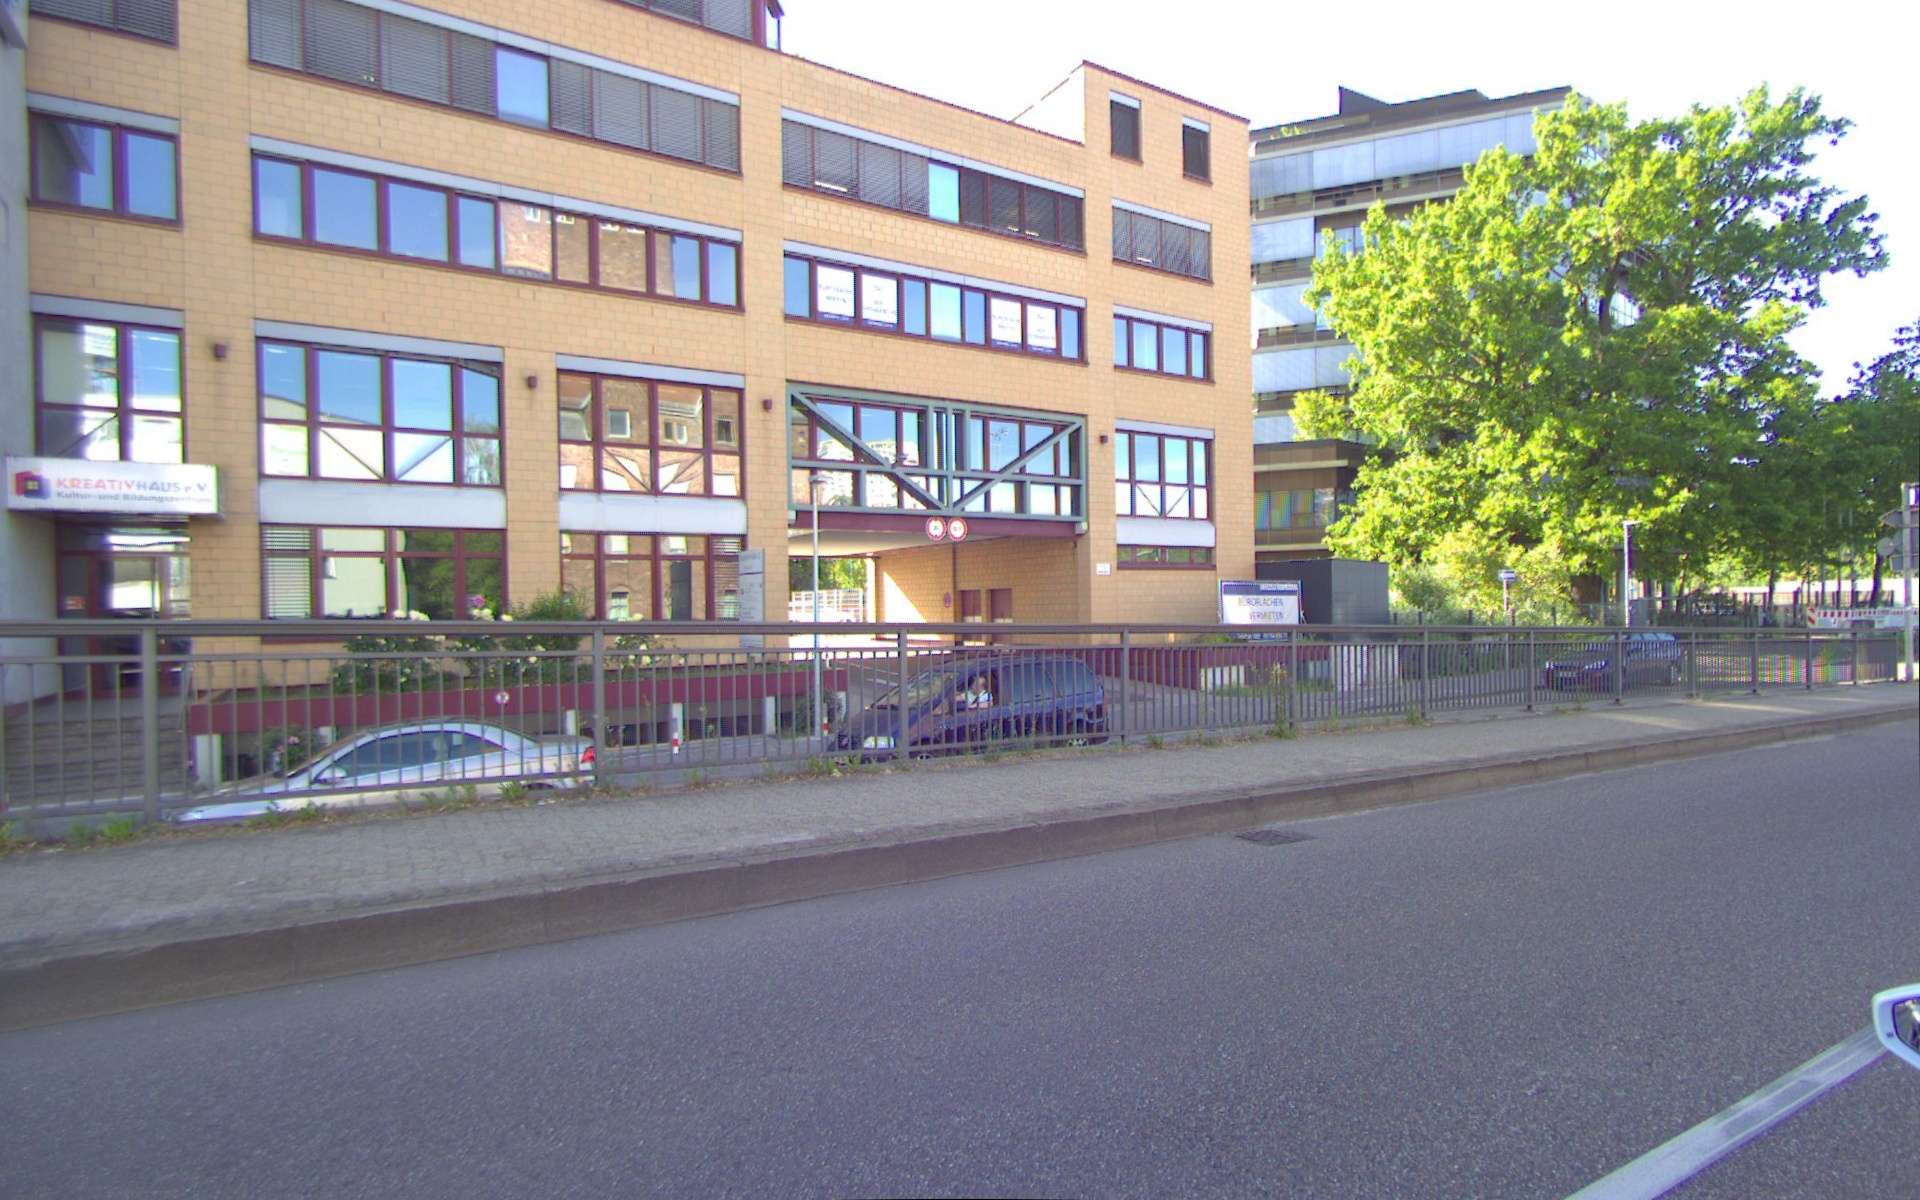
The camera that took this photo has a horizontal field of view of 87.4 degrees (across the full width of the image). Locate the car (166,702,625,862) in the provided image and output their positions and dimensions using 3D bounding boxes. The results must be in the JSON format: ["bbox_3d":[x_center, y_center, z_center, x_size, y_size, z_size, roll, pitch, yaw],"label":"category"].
[{"bbox_3d":[-6.126,1.901,11.306,4.210,1.181,1.713,0,-2,-32],"label":"car"}]

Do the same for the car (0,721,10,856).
[{"bbox_3d":[-10.620,1.813,8.292,3.766,1.286,1.567,0,-2,-32],"label":"car"}]

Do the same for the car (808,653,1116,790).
[{"bbox_3d":[0.119,1.701,15.249,4.541,1.669,1.710,0,-2,-35],"label":"car"}]

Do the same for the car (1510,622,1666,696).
[{"bbox_3d":[16.443,1.468,26.272,3.953,1.715,1.843,-1,0,-30],"label":"car"}]
